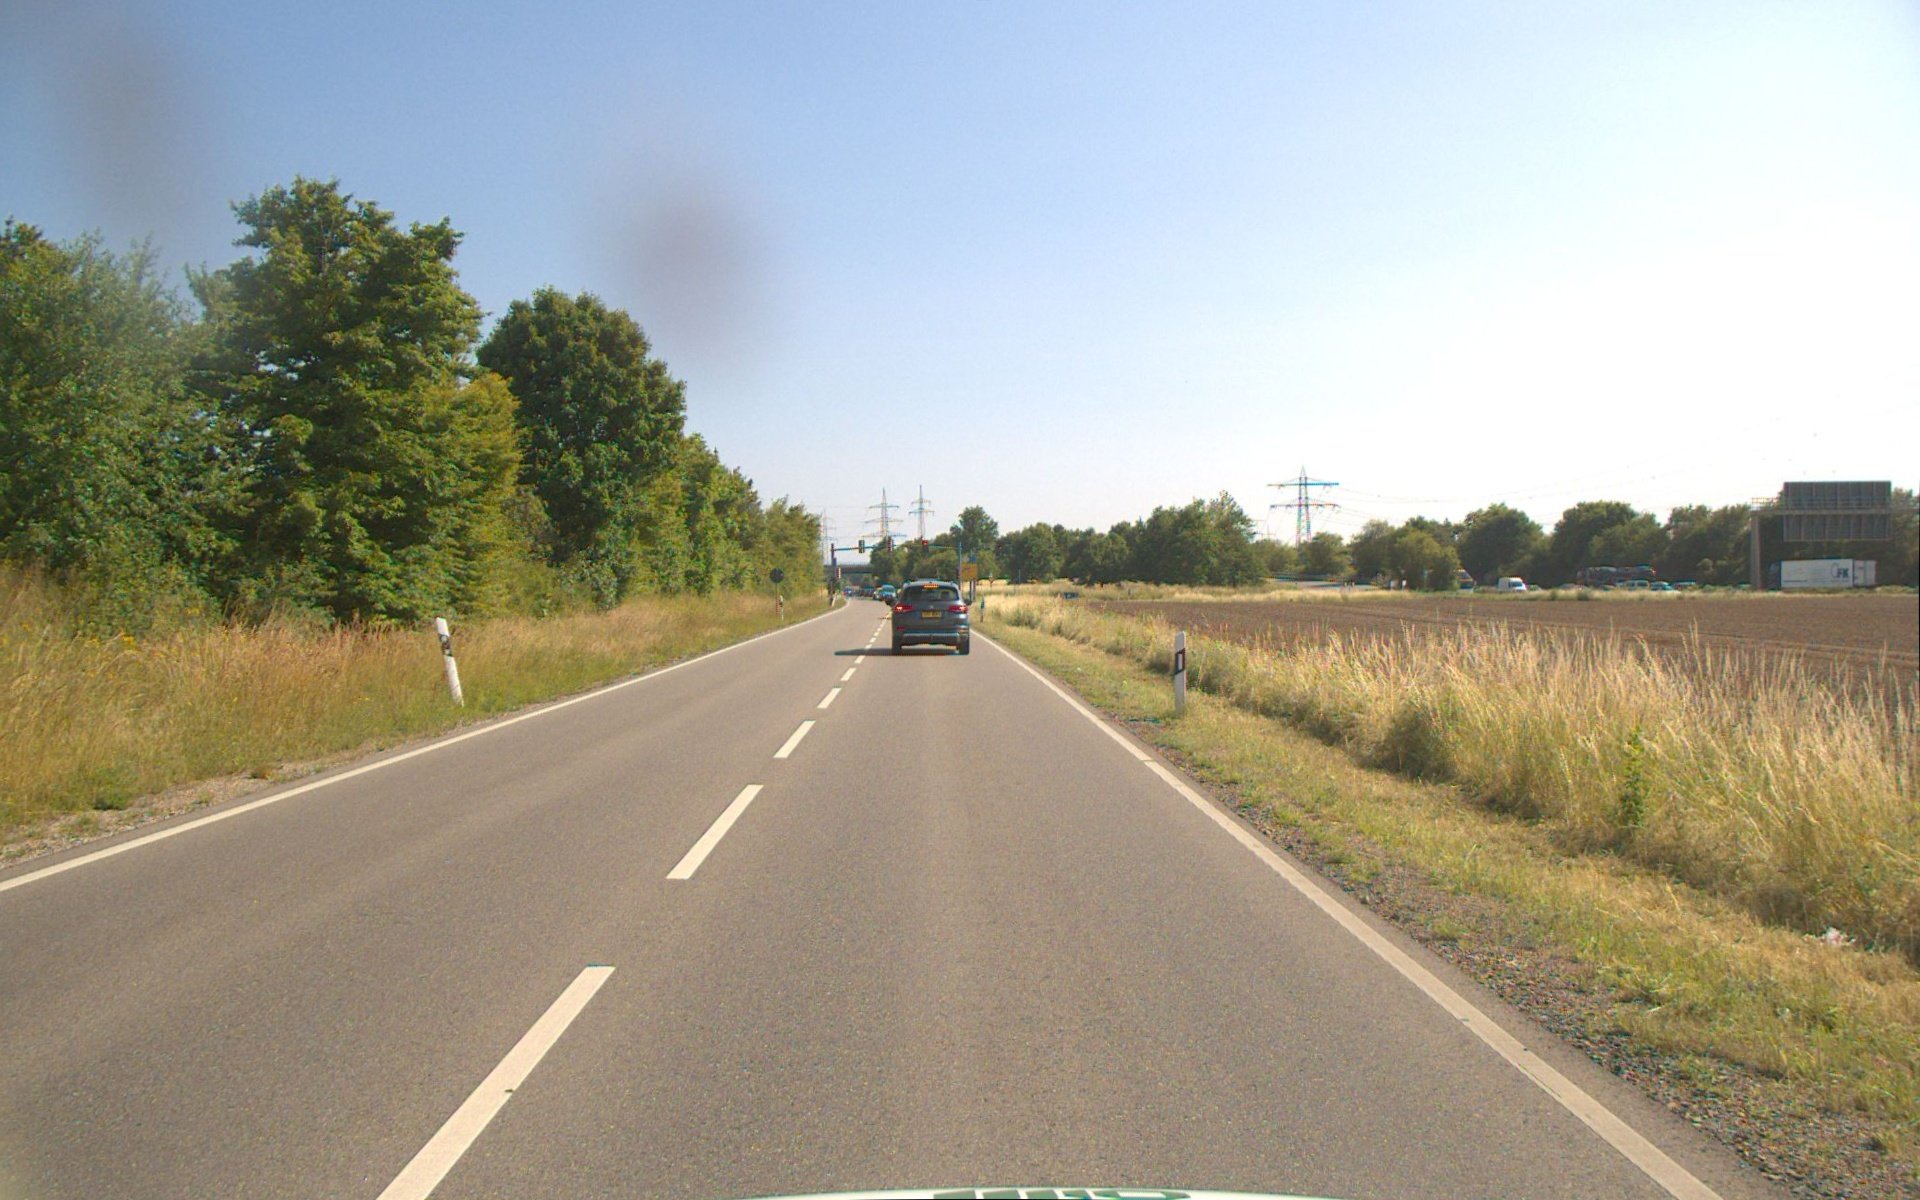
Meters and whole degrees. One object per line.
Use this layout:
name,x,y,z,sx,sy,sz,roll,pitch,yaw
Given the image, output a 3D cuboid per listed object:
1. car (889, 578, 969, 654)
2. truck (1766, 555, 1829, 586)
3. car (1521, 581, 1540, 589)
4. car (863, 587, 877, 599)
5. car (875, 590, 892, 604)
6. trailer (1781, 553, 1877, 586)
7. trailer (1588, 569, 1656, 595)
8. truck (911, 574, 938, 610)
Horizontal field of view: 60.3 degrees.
car,-0.750,0.320,38.125,1.750,1.657,3.999,0,1,-2
truck,93.394,-3.286,184.526,3.219,3.324,6.975,-1,0,-3
car,83.167,-2.191,241.152,1.366,1.171,3.581,1,1,-1
car,-11.557,-0.912,213.147,1.651,1.404,3.529,0,1,-5
car,-8.936,-0.338,193.635,1.781,1.567,3.995,-1,1,-6
trailer,93.684,-3.262,178.579,3.219,3.324,12.449,-1,0,-3
trailer,89.744,-2.471,224.558,3.219,3.324,13.446,-1,1,-3
truck,-3.068,-0.693,144.439,2.290,3.120,5.808,0,0,-1
